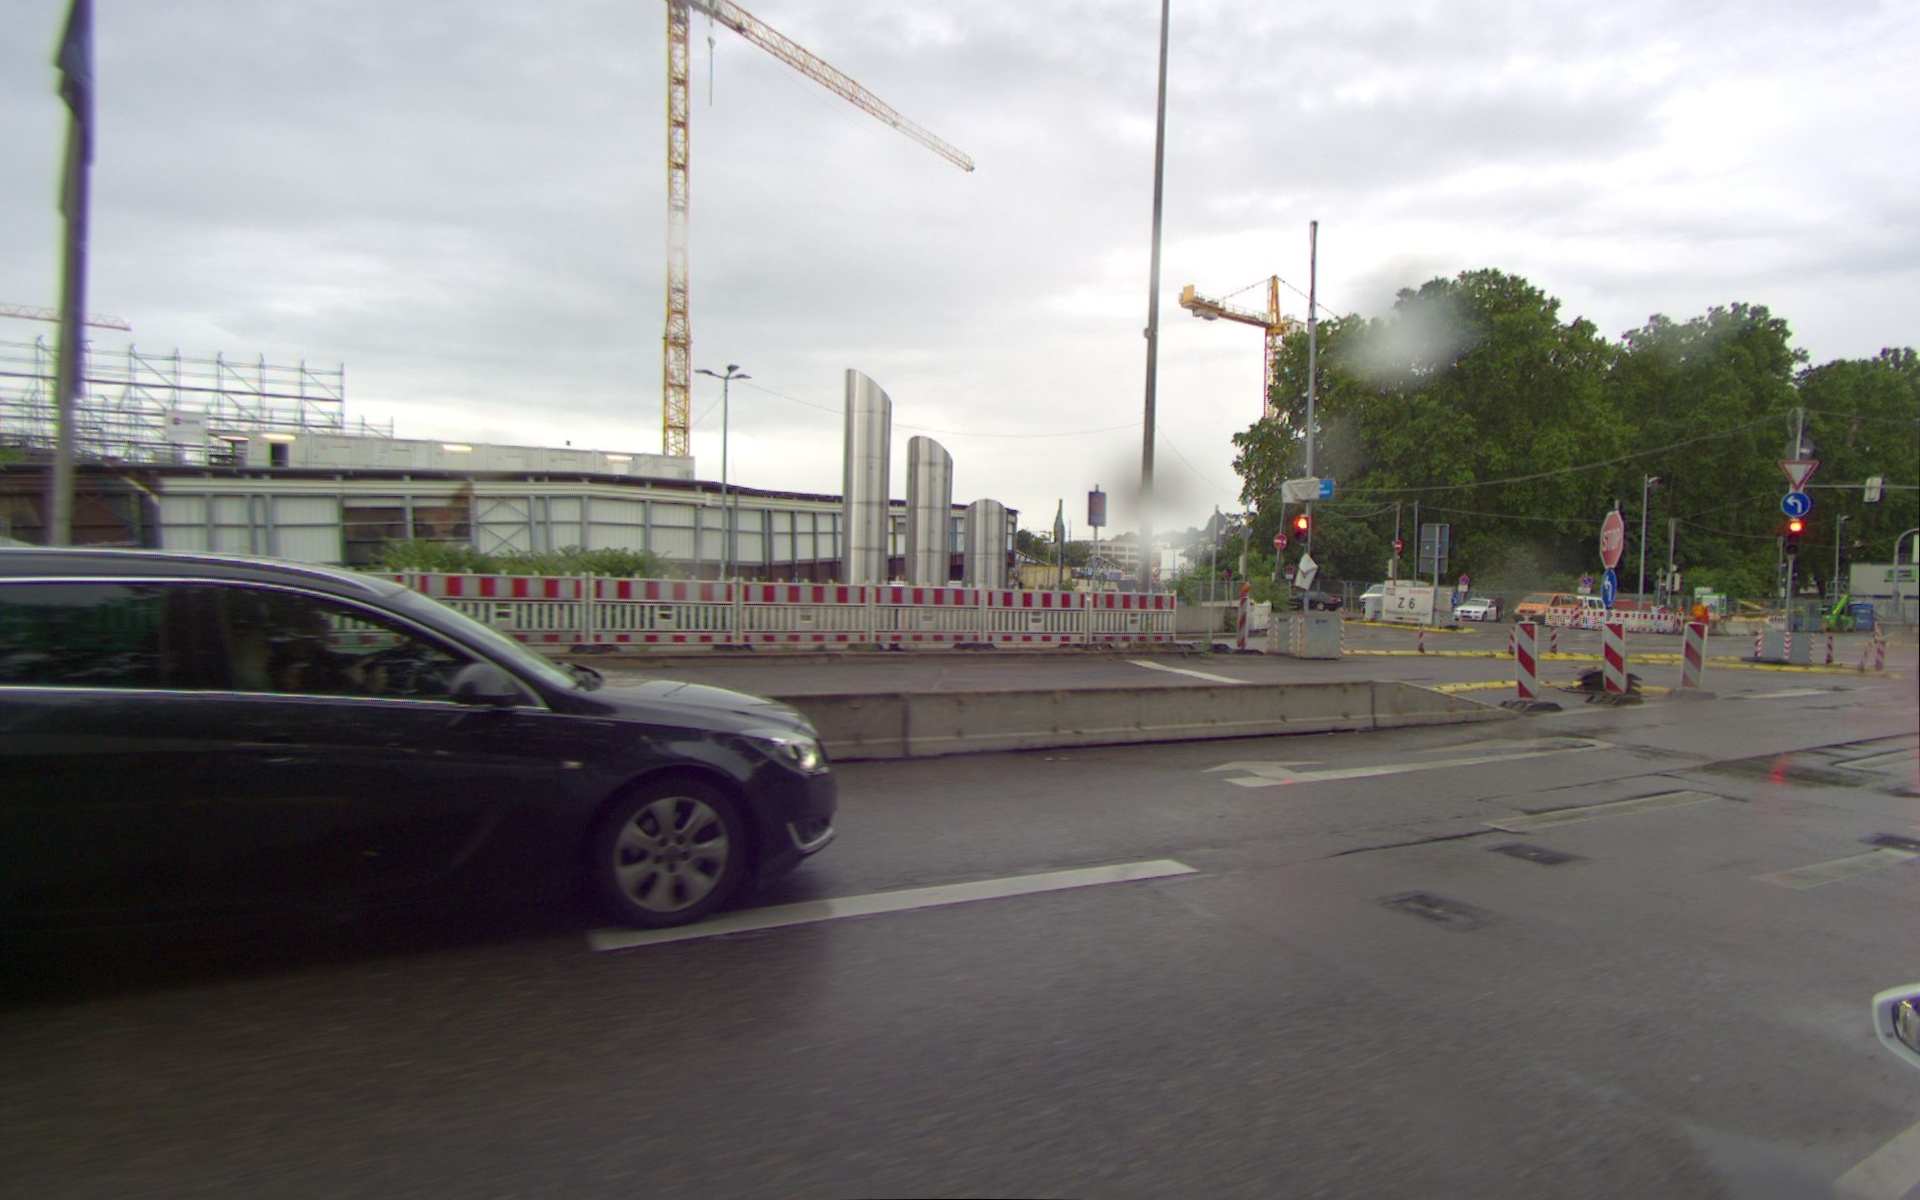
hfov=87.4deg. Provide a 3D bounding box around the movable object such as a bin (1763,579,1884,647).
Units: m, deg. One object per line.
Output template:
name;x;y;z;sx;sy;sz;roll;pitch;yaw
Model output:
movable object such as a bin;66.325;1.014;77.142;8.267;4.867;4.724;2;0;-32

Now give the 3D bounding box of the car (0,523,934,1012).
car;-2.691;0.486;4.188;4.860;1.483;1.799;2;2;-30

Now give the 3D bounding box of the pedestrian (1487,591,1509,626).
pedestrian;32.055;0.527;59.859;0.732;2.040;0.913;1;1;-38

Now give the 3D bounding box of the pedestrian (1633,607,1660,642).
pedestrian;41.508;1.461;60.724;1.165;2.041;1.168;3;2;39

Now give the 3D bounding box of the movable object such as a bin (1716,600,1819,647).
movable object such as a bin;58.517;1.677;72.786;6.318;3.170;3.910;2;0;-32

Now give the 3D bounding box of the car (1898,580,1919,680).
car;20.557;0.657;19.935;5.032;1.888;2.191;2;1;-40

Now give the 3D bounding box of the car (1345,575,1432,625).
car;28.439;0.029;66.555;6.104;3.107;2.260;2;0;-34

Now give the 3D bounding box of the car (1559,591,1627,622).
car;40.402;0.422;64.113;4.745;1.785;1.834;2;0;-33

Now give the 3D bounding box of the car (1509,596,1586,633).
car;35.557;0.909;60.768;5.528;2.128;1.980;2;-2;-36

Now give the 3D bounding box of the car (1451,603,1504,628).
car;31.528;0.962;61.158;3.808;1.434;1.740;2;0;-44

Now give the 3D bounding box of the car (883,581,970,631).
car;-1.387;0.273;44.539;1.961;2.040;5.024;1;0;22
